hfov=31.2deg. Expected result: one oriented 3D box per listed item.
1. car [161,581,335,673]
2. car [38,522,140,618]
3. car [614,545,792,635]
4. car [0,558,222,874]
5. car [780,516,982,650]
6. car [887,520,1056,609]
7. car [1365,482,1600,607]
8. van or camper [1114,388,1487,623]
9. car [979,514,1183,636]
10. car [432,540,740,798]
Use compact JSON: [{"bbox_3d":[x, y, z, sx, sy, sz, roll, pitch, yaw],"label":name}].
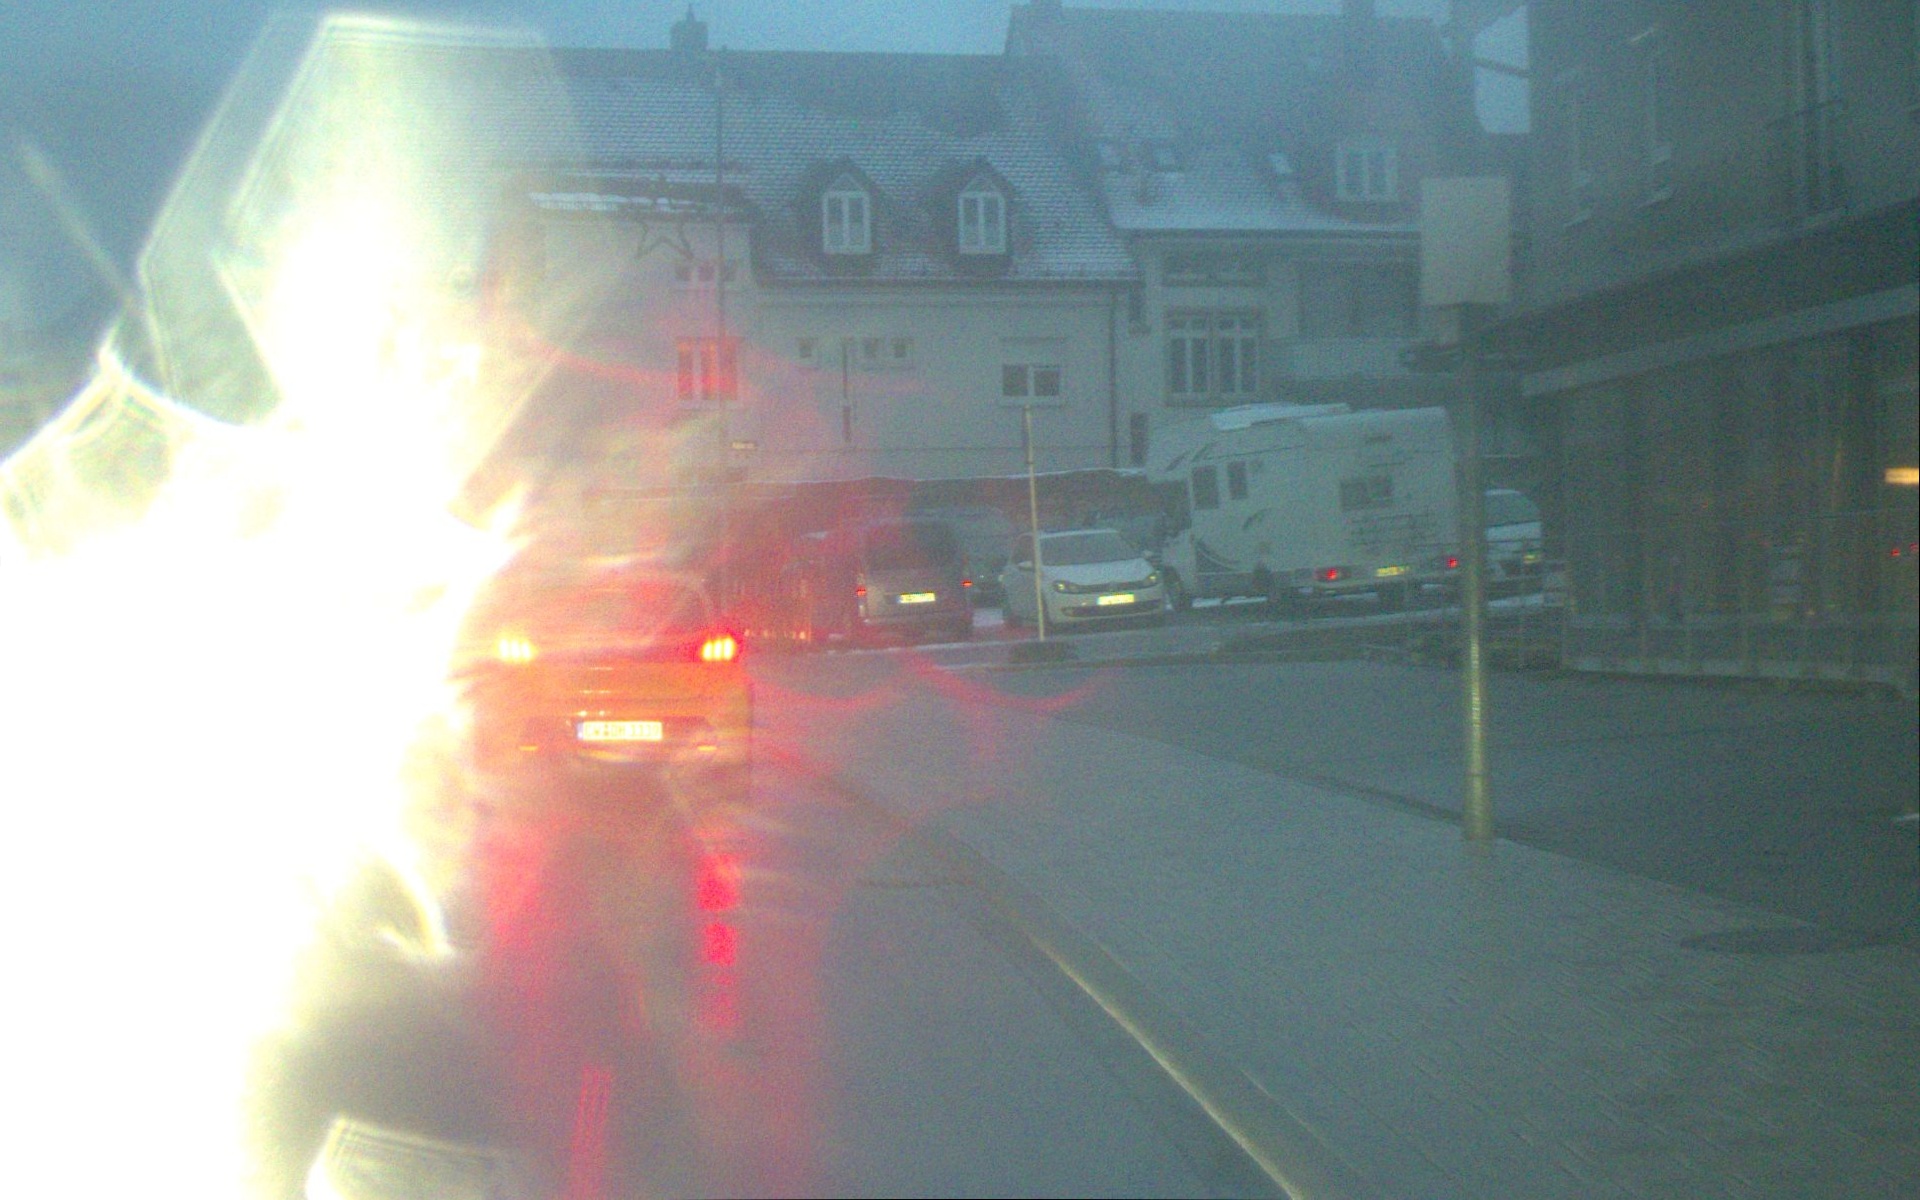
[{"bbox_3d":[-12.952,0.466,62.376,1.993,1.583,4.000,0,1,-29],"label":"car"},{"bbox_3d":[-20.651,-0.714,81.415,1.993,2.195,4.001,0,1,-19],"label":"car"},{"bbox_3d":[-4.400,-0.192,58.409,1.886,1.457,3.634,-1,1,-24],"label":"car"},{"bbox_3d":[-5.319,0.597,19.330,1.917,1.559,4.227,-2,1,-8],"label":"car"},{"bbox_3d":[-1.193,-0.272,49.386,1.993,1.759,4.352,-3,1,-13],"label":"car"},{"bbox_3d":[0.159,-0.657,61.461,1.822,1.457,4.550,-3,2,-15],"label":"car"},{"bbox_3d":[7.499,-0.796,49.737,1.788,1.548,4.001,-7,2,-14],"label":"car"},{"bbox_3d":[4.820,-1.331,50.128,2.650,3.037,6.736,-4,2,-19],"label":"van or camper"},{"bbox_3d":[1.682,-0.333,49.562,1.993,1.605,4.175,-3,0,-11],"label":"car"},{"bbox_3d":[-2.462,0.393,22.475,1.814,1.528,4.001,0,1,-7],"label":"car"}]
